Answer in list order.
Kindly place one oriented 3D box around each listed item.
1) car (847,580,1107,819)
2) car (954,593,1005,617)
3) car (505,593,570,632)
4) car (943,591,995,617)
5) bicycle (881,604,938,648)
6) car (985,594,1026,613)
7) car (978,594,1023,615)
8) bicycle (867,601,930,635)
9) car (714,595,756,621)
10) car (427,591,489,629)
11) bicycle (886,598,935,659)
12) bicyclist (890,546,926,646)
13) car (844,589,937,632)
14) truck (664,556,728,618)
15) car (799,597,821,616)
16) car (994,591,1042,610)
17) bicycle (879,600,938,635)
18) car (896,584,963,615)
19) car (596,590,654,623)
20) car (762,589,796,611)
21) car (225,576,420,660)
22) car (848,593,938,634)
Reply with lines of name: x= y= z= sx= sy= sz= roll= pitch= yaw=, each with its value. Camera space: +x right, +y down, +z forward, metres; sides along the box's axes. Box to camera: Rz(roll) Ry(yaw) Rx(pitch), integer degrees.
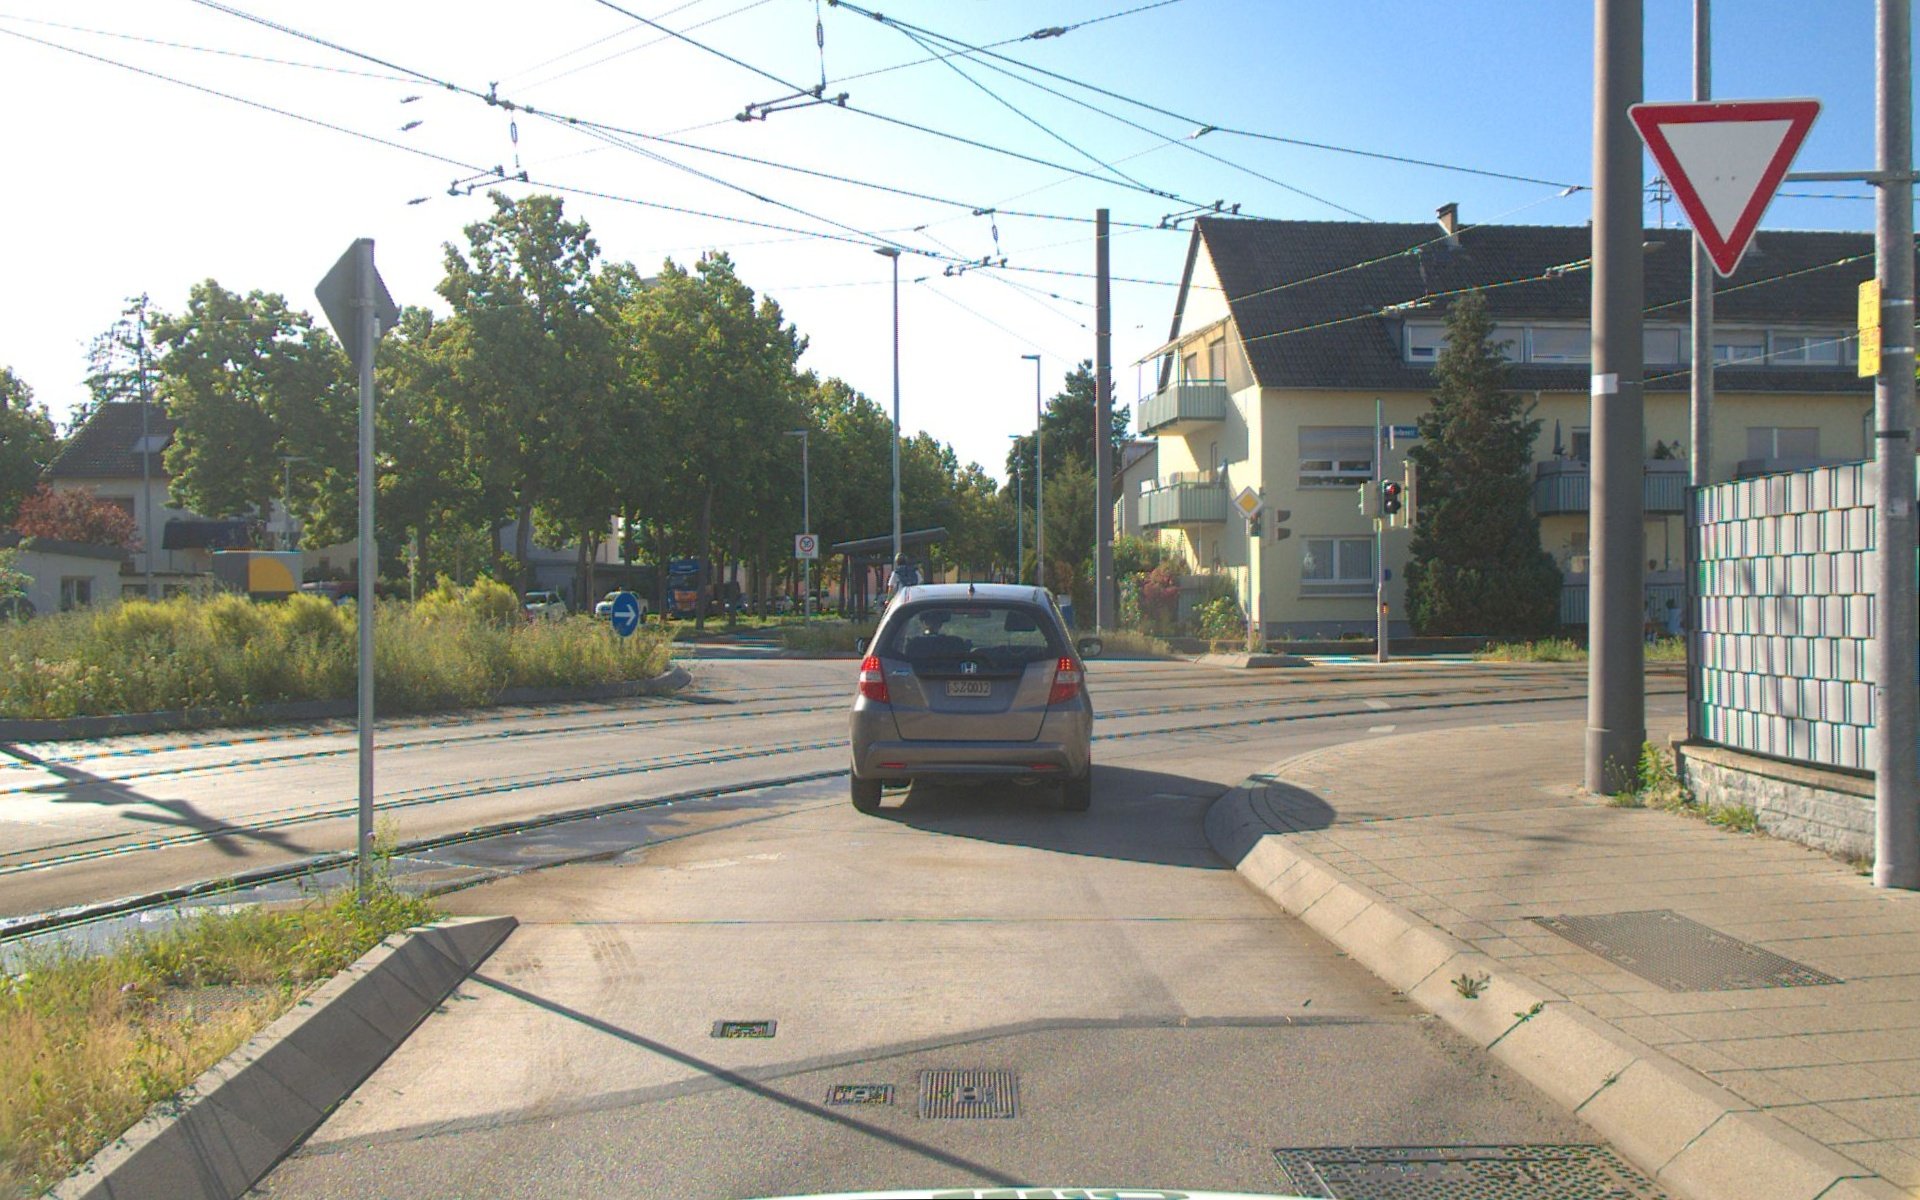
car: x=0.107 y=0.617 z=12.533 sx=1.653 sy=1.517 sz=3.914 roll=0 pitch=1 yaw=0
car: x=1.304 y=0.306 z=110.632 sx=3.408 sy=1.519 sz=1.552 roll=1 pitch=0 yaw=0
car: x=-19.906 y=0.562 z=78.127 sx=1.953 sy=1.729 sz=4.218 roll=1 pitch=0 yaw=0
car: x=0.577 y=0.257 z=105.873 sx=3.290 sy=1.560 sz=1.523 roll=1 pitch=0 yaw=0
bicycle: x=-1.475 y=0.760 z=48.272 sx=1.632 sy=1.229 sz=0.688 roll=1 pitch=0 yaw=-4
car: x=3.888 y=0.319 z=140.654 sx=3.445 sy=1.560 sz=1.577 roll=1 pitch=0 yaw=0
car: x=3.155 y=0.328 z=130.017 sx=3.445 sy=1.560 sz=1.577 roll=1 pitch=0 yaw=0
bicycle: x=-1.928 y=0.560 z=51.953 sx=1.934 sy=1.045 sz=0.695 roll=1 pitch=0 yaw=-4
car: x=-14.690 y=0.500 z=108.235 sx=1.792 sy=1.608 sz=4.443 roll=1 pitch=0 yaw=4
car: x=-20.349 y=0.396 z=67.139 sx=1.765 sy=1.490 sz=3.796 roll=1 pitch=0 yaw=-7
bicycle: x=-0.888 y=0.517 z=29.202 sx=0.751 sy=1.055 sz=1.532 roll=0 pitch=-2 yaw=-6
bicyclist: x=-0.923 y=-0.064 z=29.509 sx=0.591 sy=1.744 sz=0.544 roll=-1 pitch=-4 yaw=-4
car: x=-2.643 y=0.411 z=63.560 sx=3.444 sy=1.560 sz=1.577 roll=1 pitch=0 yaw=1
truck: x=-17.844 y=-0.890 z=112.359 sx=3.007 sy=4.063 sz=8.008 roll=1 pitch=1 yaw=0
car: x=-13.186 y=0.563 z=145.823 sx=1.614 sy=1.677 sz=3.568 roll=1 pitch=0 yaw=0
car: x=4.183 y=0.029 z=120.075 sx=3.445 sy=1.301 sz=1.577 roll=1 pitch=0 yaw=0
bicycle: x=-1.591 y=0.537 z=51.066 sx=1.804 sy=1.045 sz=0.688 roll=1 pitch=0 yaw=-4
car: x=-1.592 y=-0.006 z=87.473 sx=3.444 sy=1.560 sz=1.577 roll=1 pitch=0 yaw=1
car: x=-19.151 y=0.371 z=94.679 sx=1.952 sy=1.804 sz=5.062 roll=1 pitch=0 yaw=4
car: x=-14.552 y=0.007 z=133.133 sx=1.951 sy=1.729 sz=4.220 roll=1 pitch=0 yaw=5
car: x=-16.586 y=0.490 z=43.366 sx=1.951 sy=2.016 sz=5.240 roll=-2 pitch=-1 yaw=17
car: x=-2.630 y=0.531 z=65.331 sx=3.444 sy=1.560 sz=1.577 roll=1 pitch=0 yaw=1
